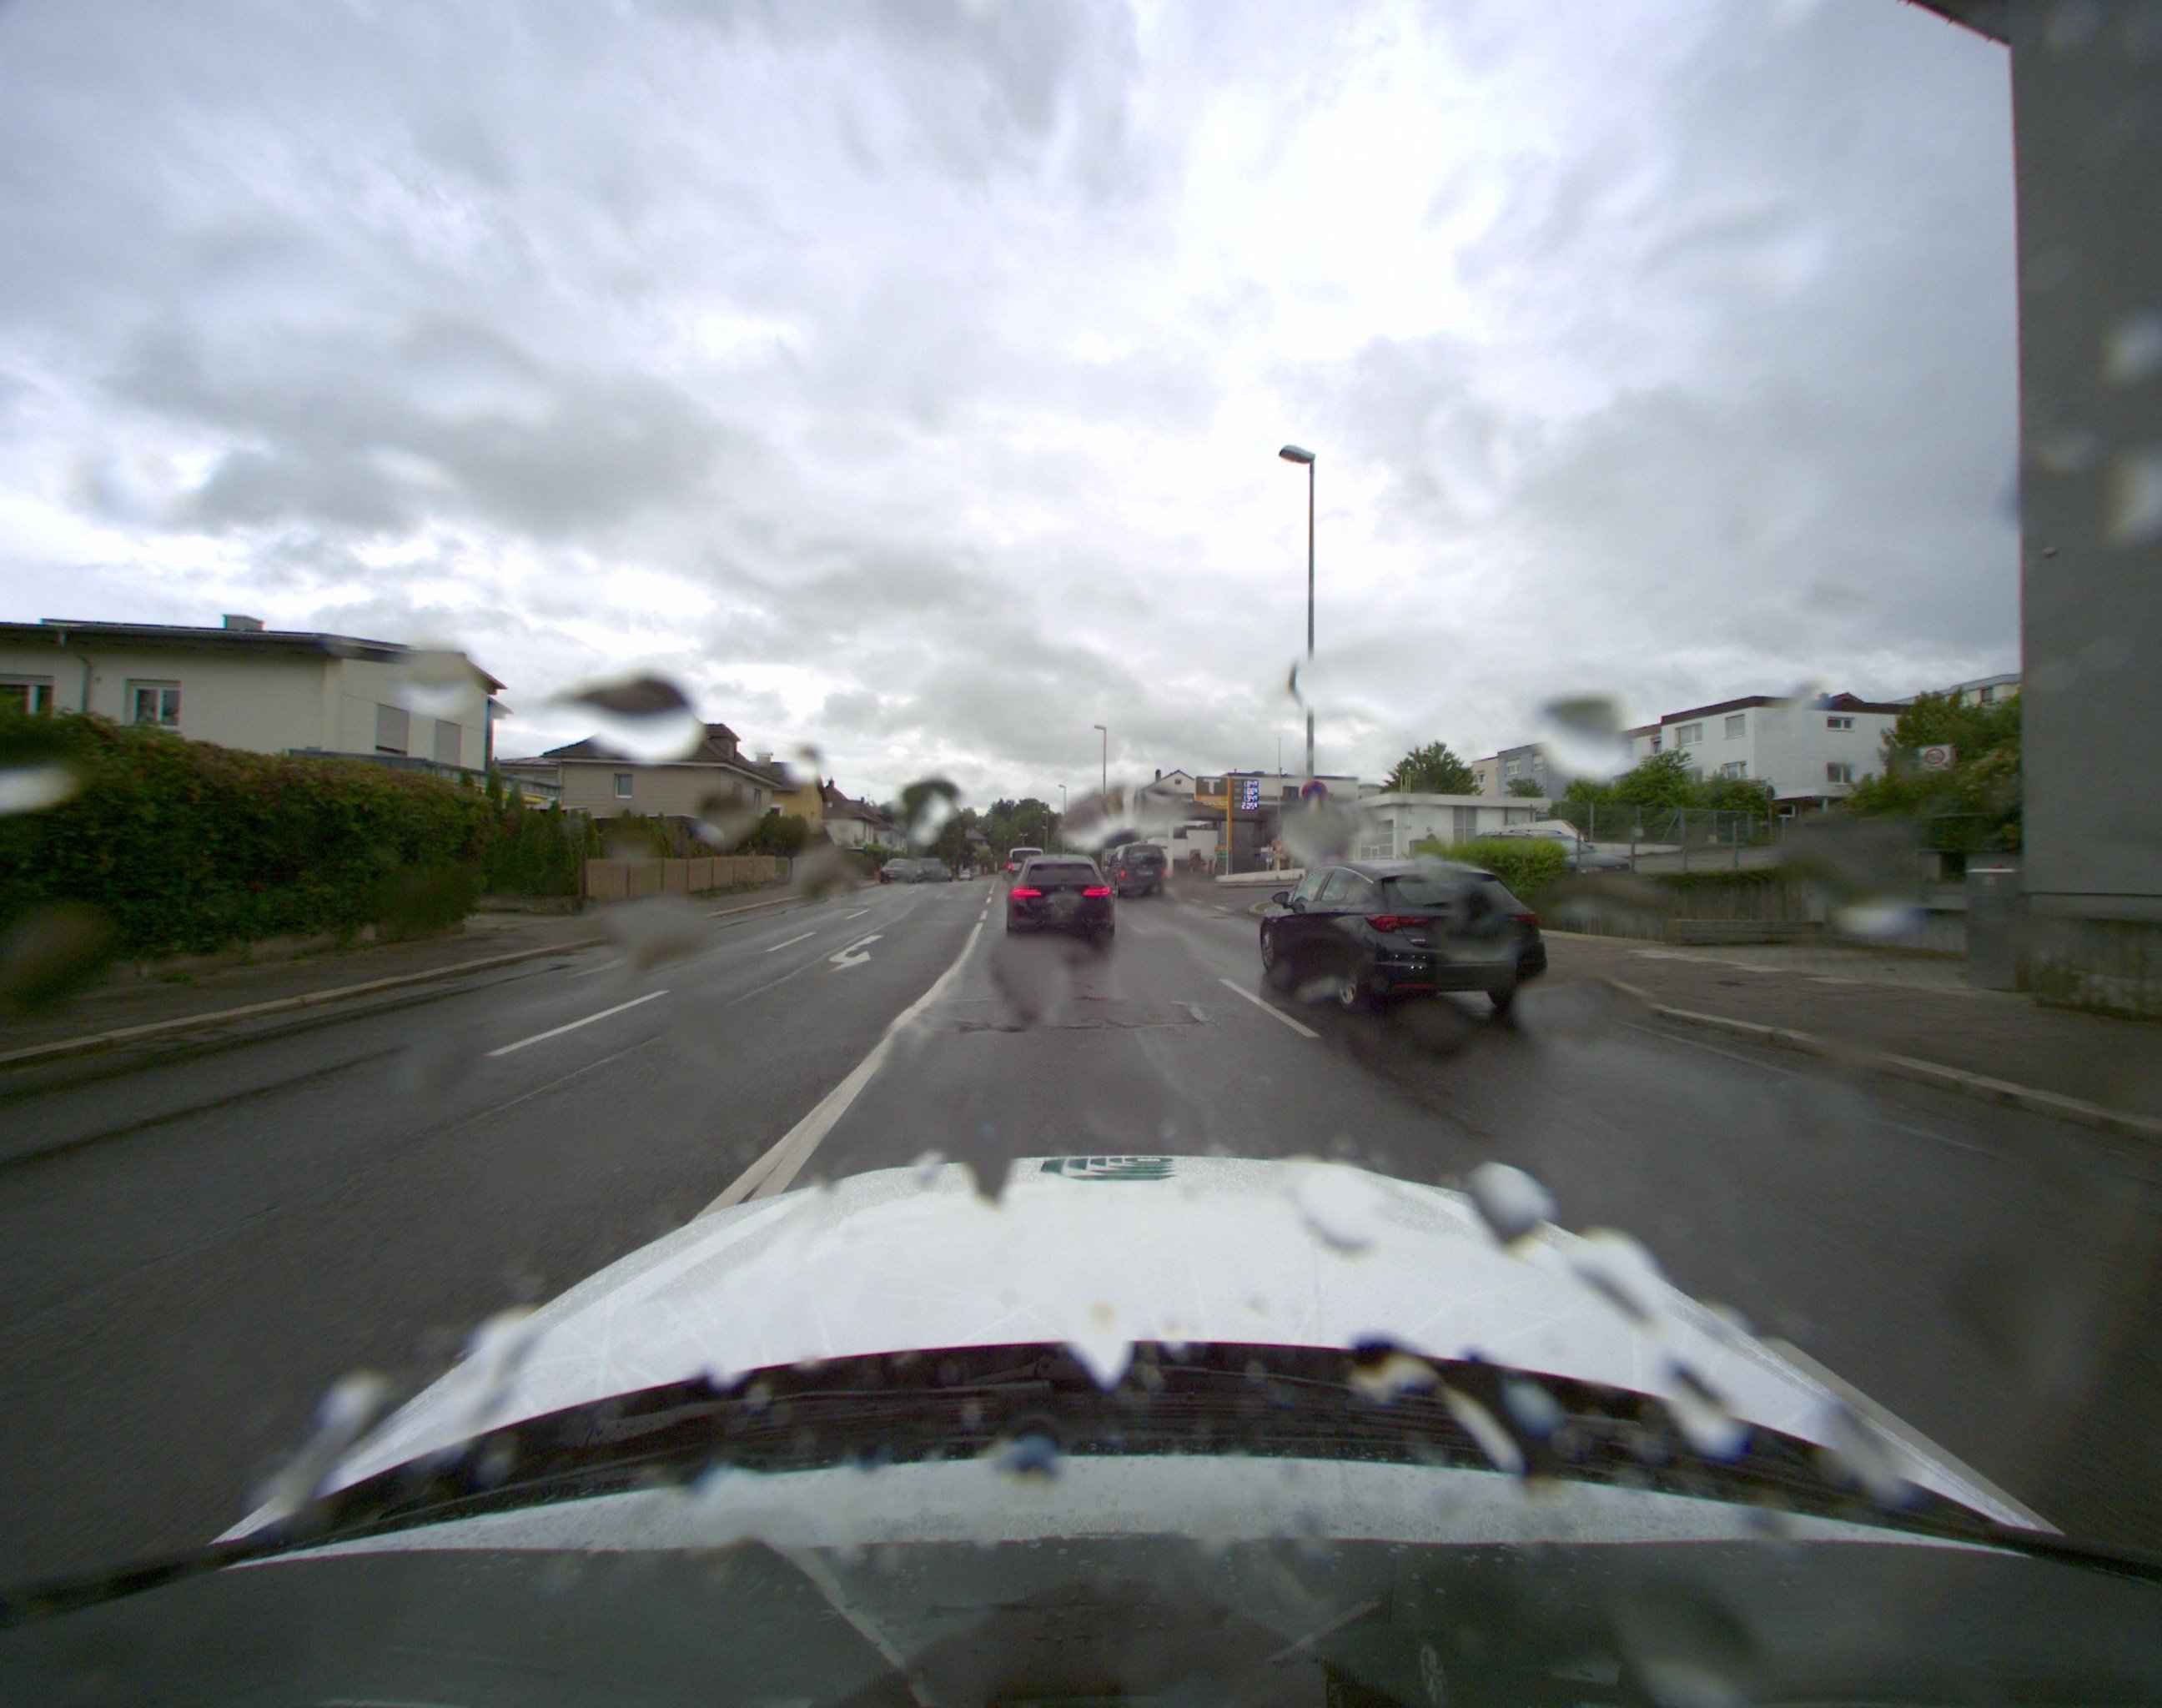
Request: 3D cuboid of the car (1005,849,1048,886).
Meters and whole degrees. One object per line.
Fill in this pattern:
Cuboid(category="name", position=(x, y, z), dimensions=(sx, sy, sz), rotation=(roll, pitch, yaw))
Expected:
Cuboid(category="car", position=(-2.672, 0.690, 39.978), dimensions=(1.990, 1.738, 3.993), rotation=(0, -2, -4))

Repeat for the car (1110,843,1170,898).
Cuboid(category="car", position=(1.994, 0.606, 28.567), dimensions=(1.832, 1.767, 3.999), rotation=(0, -2, 0))

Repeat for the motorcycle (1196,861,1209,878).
Cuboid(category="motorcycle", position=(7.568, 0.990, 50.716), dimensions=(0.461, 1.055, 1.388), rotation=(0, -2, -5))

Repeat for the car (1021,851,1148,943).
Cuboid(category="car", position=(-0.079, 0.770, 15.264), dimensions=(1.991, 1.484, 3.991), rotation=(0, -2, -6))

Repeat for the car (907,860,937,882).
Cuboid(category="car", position=(-11.080, 1.217, 56.921), dimensions=(1.749, 1.517, 4.515), rotation=(0, -2, -8))

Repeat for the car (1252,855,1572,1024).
Cuboid(category="car", position=(3.300, 0.747, 9.051), dimensions=(1.753, 1.449, 3.995), rotation=(0, 0, -4))

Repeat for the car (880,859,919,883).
Cuboid(category="car", position=(-11.168, 1.064, 50.239), dimensions=(1.747, 1.440, 4.122), rotation=(0, -2, -5))

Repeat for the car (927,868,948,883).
Cuboid(category="car", position=(-14.447, 2.186, 82.135), dimensions=(1.754, 1.533, 4.278), rotation=(0, -2, -5))

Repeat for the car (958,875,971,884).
Cuboid(category="car", position=(-19.263, 4.205, 134.559), dimensions=(1.881, 1.585, 3.992), rotation=(0, -2, -5))

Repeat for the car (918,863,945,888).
Cuboid(category="car", position=(-12.229, 1.786, 67.056), dimensions=(1.911, 2.003, 5.073), rotation=(1, -2, -8))

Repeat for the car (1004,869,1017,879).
Cuboid(category="car", position=(-12.618, 3.669, 145.520), dimensions=(1.988, 1.741, 3.997), rotation=(0, -2, -1))

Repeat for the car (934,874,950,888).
Cuboid(category="car", position=(-15.005, 2.942, 88.191), dimensions=(1.550, 1.431, 4.003), rotation=(1, -2, -8))

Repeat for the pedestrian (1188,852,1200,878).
Cuboid(category="pedestrian", position=(7.089, 0.688, 50.978), dimensions=(0.609, 1.656, 0.584), rotation=(0, -2, -6))

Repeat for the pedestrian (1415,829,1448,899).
Cuboid(category="pedestrian", position=(10.347, 0.301, 24.049), dimensions=(0.712, 2.014, 0.615), rotation=(0, -2, 3))
